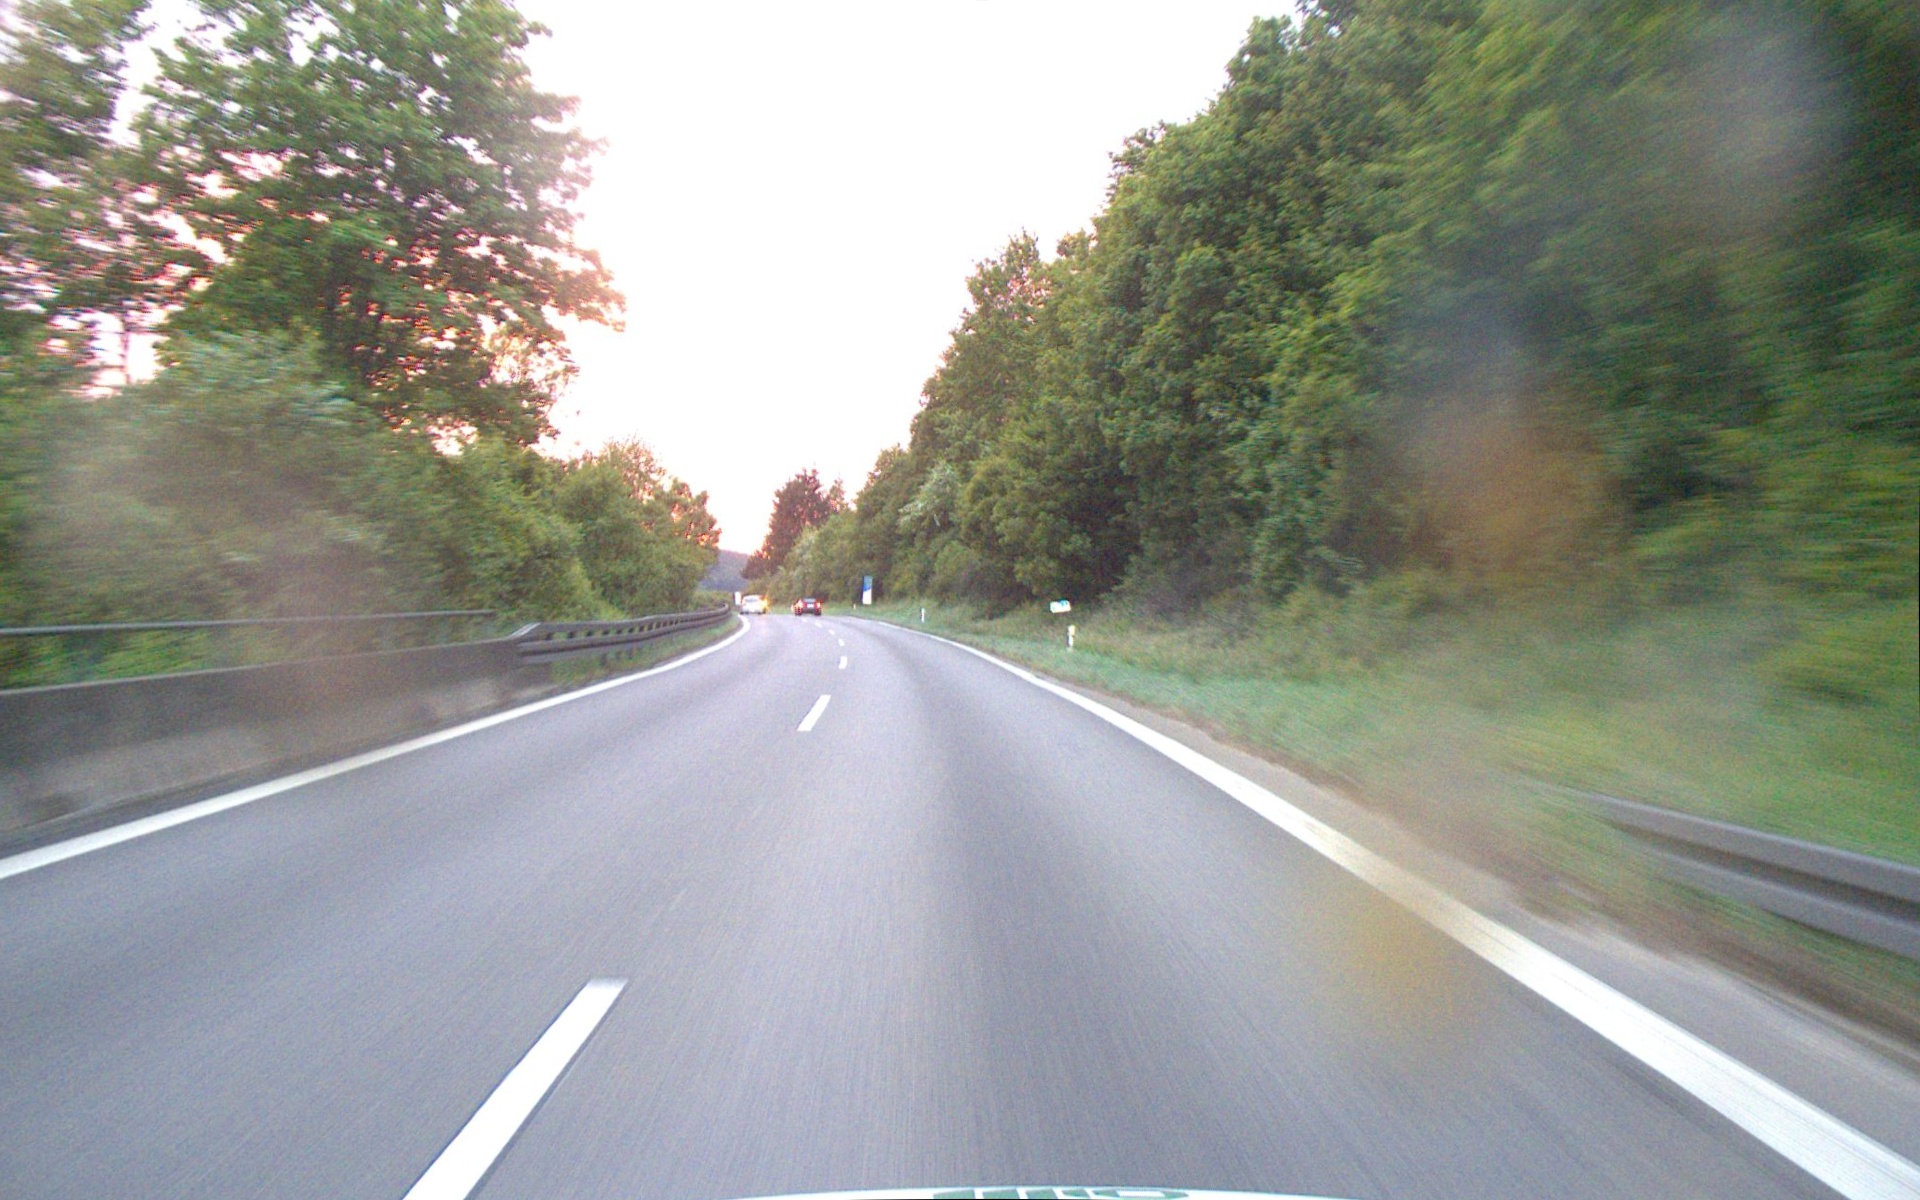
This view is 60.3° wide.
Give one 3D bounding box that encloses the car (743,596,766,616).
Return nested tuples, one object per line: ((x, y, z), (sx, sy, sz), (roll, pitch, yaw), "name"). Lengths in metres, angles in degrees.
((-17.293, 0.504, 139.274), (1.685, 1.528, 3.995), (1, -2, -5), "car")

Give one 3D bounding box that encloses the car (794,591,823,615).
((-12.269, 0.244, 133.641), (1.958, 1.675, 3.989), (3, -4, -10), "car")
